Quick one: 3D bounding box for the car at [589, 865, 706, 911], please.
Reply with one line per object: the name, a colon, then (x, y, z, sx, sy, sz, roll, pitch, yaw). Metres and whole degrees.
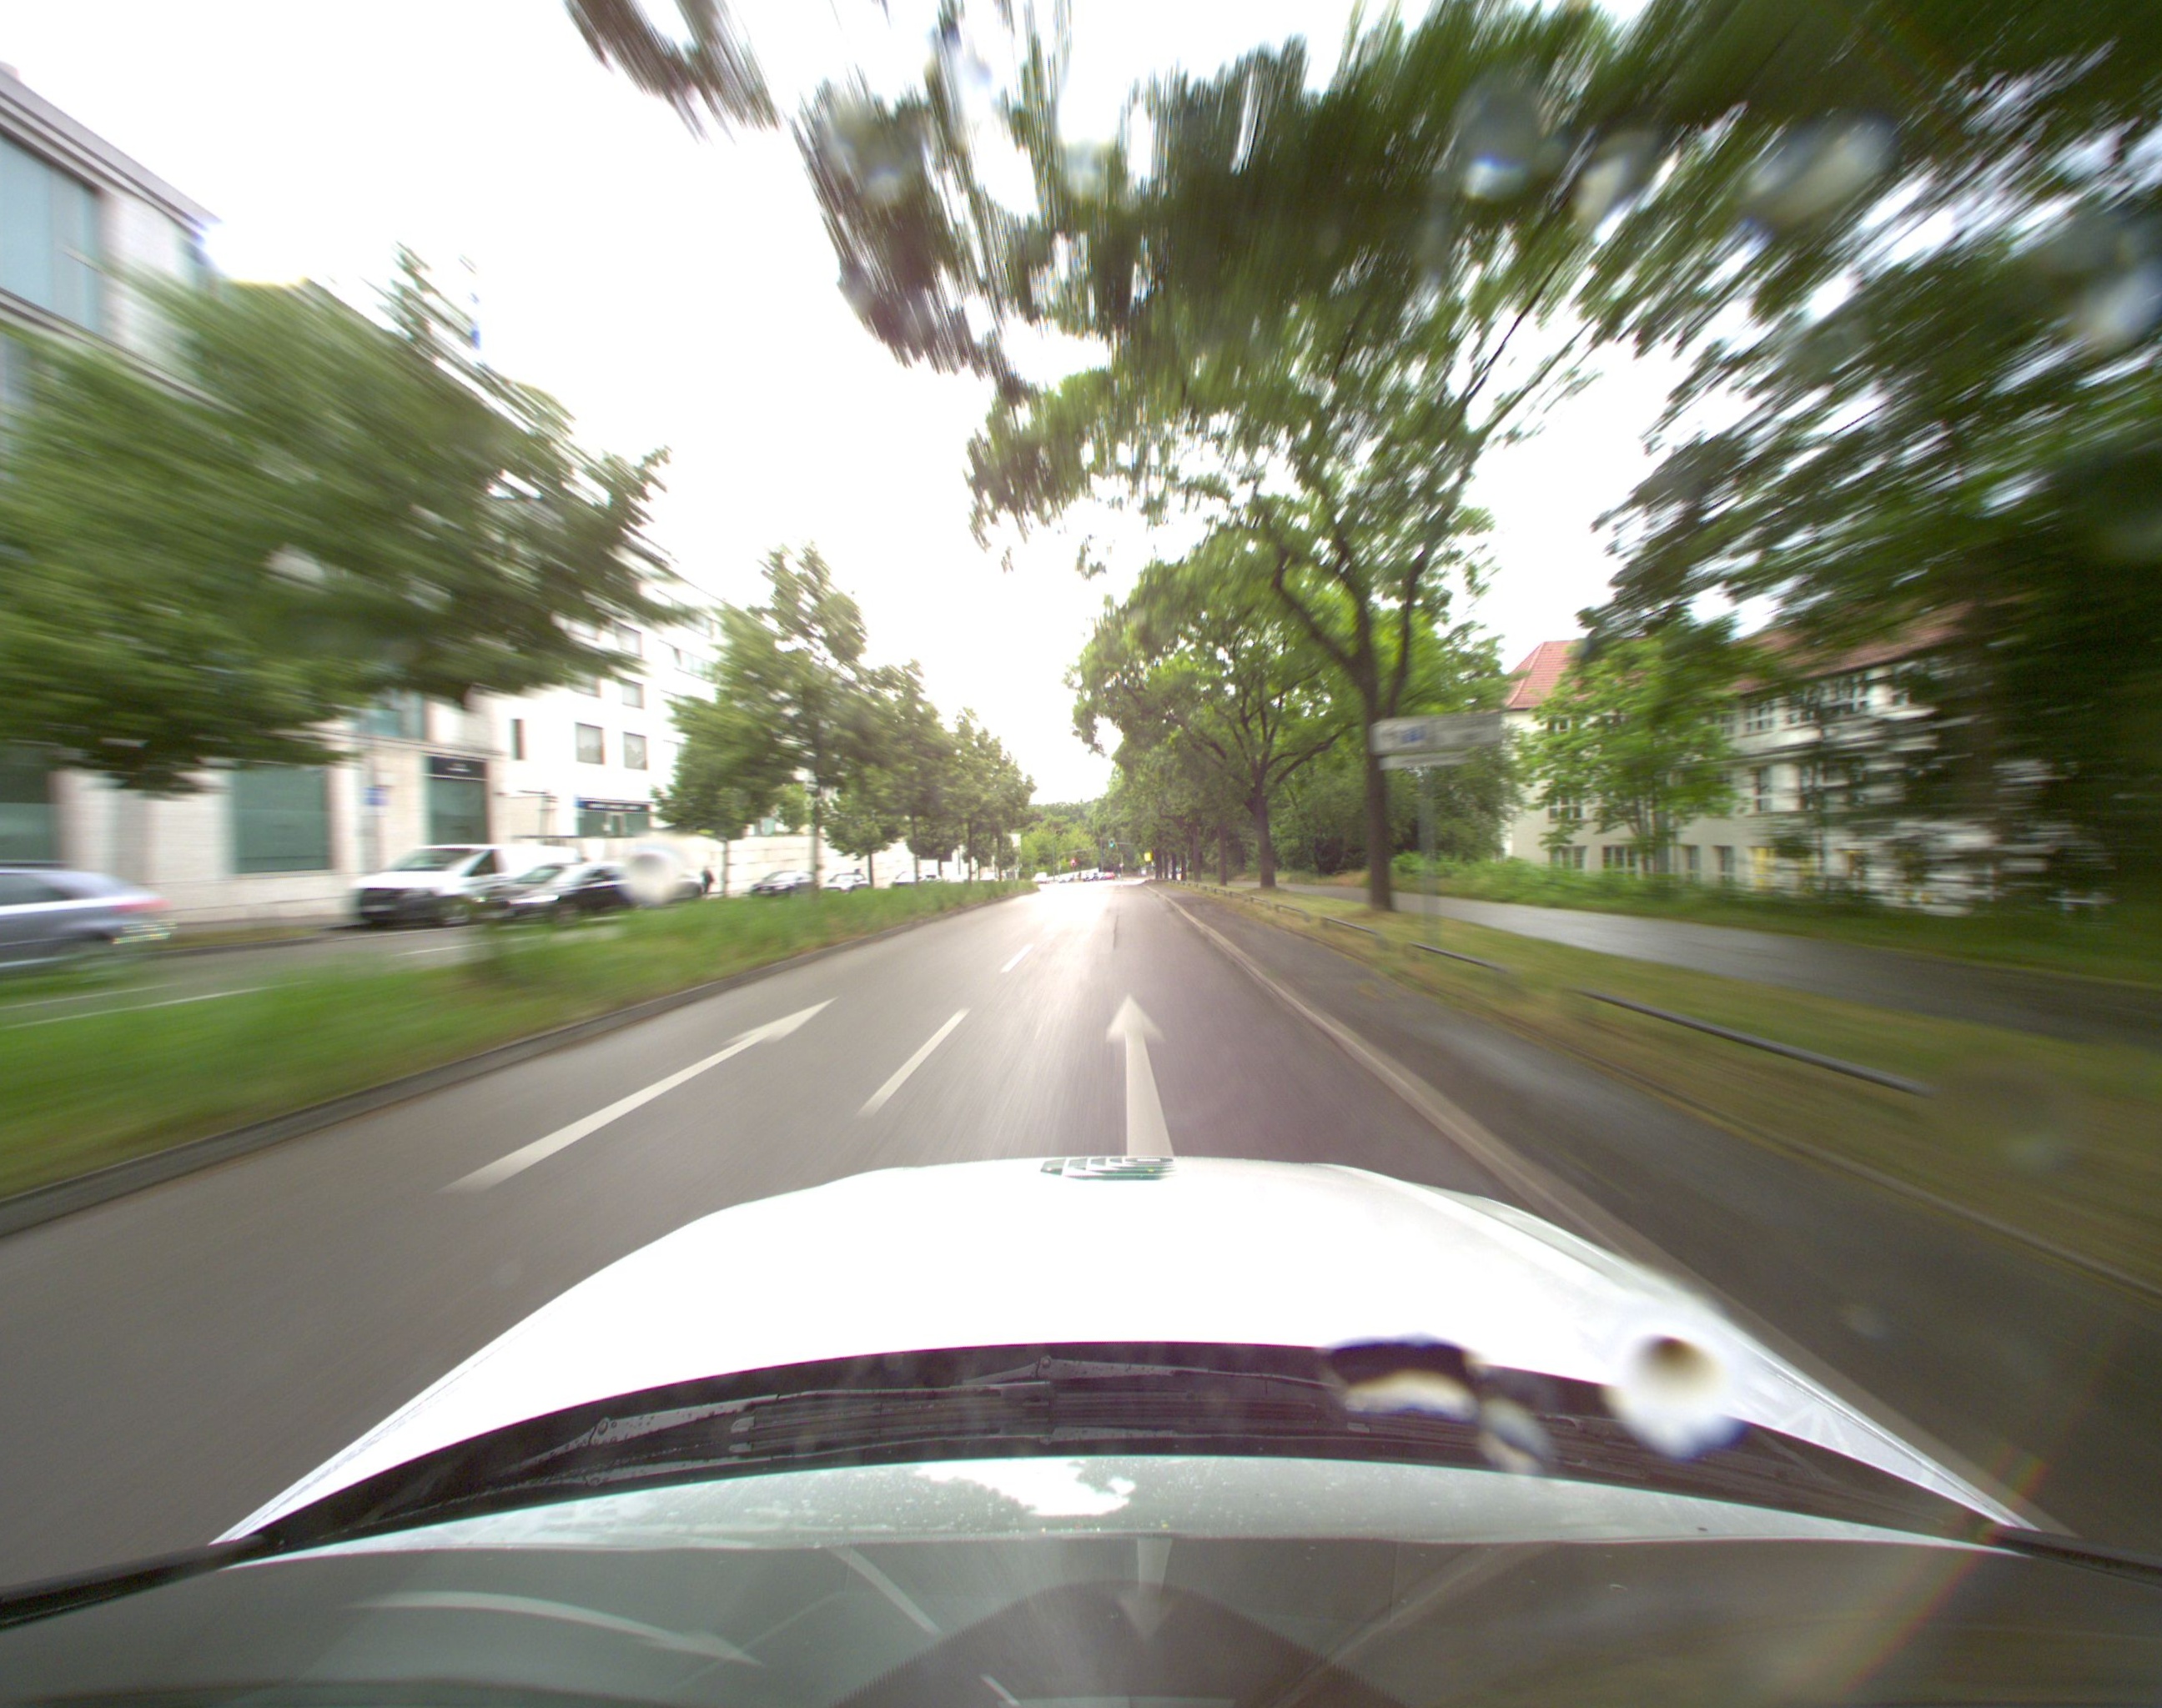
car: (-13.846, 1.053, 26.241, 1.688, 1.385, 3.699, 0, -1, 2)

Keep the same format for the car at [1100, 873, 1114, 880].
car: (5.583, 4.848, 176.242, 1.859, 1.575, 4.242, 0, -1, 18)

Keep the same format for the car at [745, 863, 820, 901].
car: (-13.343, 1.225, 36.683, 1.688, 1.581, 4.021, -1, 0, 3)

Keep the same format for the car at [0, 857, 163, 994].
car: (-12.193, 0.810, 8.013, 1.635, 1.410, 3.999, -2, 1, 2)

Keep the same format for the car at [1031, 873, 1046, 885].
car: (-6.389, 3.732, 122.926, 1.703, 1.746, 4.339, -2, -1, 2)

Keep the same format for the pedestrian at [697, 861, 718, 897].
pedestrian: (-18.676, 1.241, 40.731, 0.715, 1.775, 0.692, -1, -1, 2)

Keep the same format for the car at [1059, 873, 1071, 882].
car: (-2.732, 3.999, 139.168, 1.763, 1.381, 4.192, -4, -2, 3)

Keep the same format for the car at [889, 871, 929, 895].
car: (-12.341, 2.066, 58.519, 1.696, 1.620, 4.365, -2, -2, 3)

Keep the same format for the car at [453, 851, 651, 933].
car: (-11.596, 0.741, 18.214, 1.688, 1.581, 4.020, 1, 1, 2)

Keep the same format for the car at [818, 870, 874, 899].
car: (-12.943, 1.673, 45.116, 1.687, 1.444, 3.865, 0, 0, 5)

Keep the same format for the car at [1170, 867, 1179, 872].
car: (26.116, 4.409, 227.711, 1.698, 1.461, 3.769, -1, -2, 21)

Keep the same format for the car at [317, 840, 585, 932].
car: (-14.474, 0.676, 19.264, 2.114, 1.816, 5.262, -1, -1, 1)

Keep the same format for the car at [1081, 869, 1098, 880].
car: (1.616, 3.888, 154.964, 1.906, 1.857, 4.525, -6, -2, 16)
